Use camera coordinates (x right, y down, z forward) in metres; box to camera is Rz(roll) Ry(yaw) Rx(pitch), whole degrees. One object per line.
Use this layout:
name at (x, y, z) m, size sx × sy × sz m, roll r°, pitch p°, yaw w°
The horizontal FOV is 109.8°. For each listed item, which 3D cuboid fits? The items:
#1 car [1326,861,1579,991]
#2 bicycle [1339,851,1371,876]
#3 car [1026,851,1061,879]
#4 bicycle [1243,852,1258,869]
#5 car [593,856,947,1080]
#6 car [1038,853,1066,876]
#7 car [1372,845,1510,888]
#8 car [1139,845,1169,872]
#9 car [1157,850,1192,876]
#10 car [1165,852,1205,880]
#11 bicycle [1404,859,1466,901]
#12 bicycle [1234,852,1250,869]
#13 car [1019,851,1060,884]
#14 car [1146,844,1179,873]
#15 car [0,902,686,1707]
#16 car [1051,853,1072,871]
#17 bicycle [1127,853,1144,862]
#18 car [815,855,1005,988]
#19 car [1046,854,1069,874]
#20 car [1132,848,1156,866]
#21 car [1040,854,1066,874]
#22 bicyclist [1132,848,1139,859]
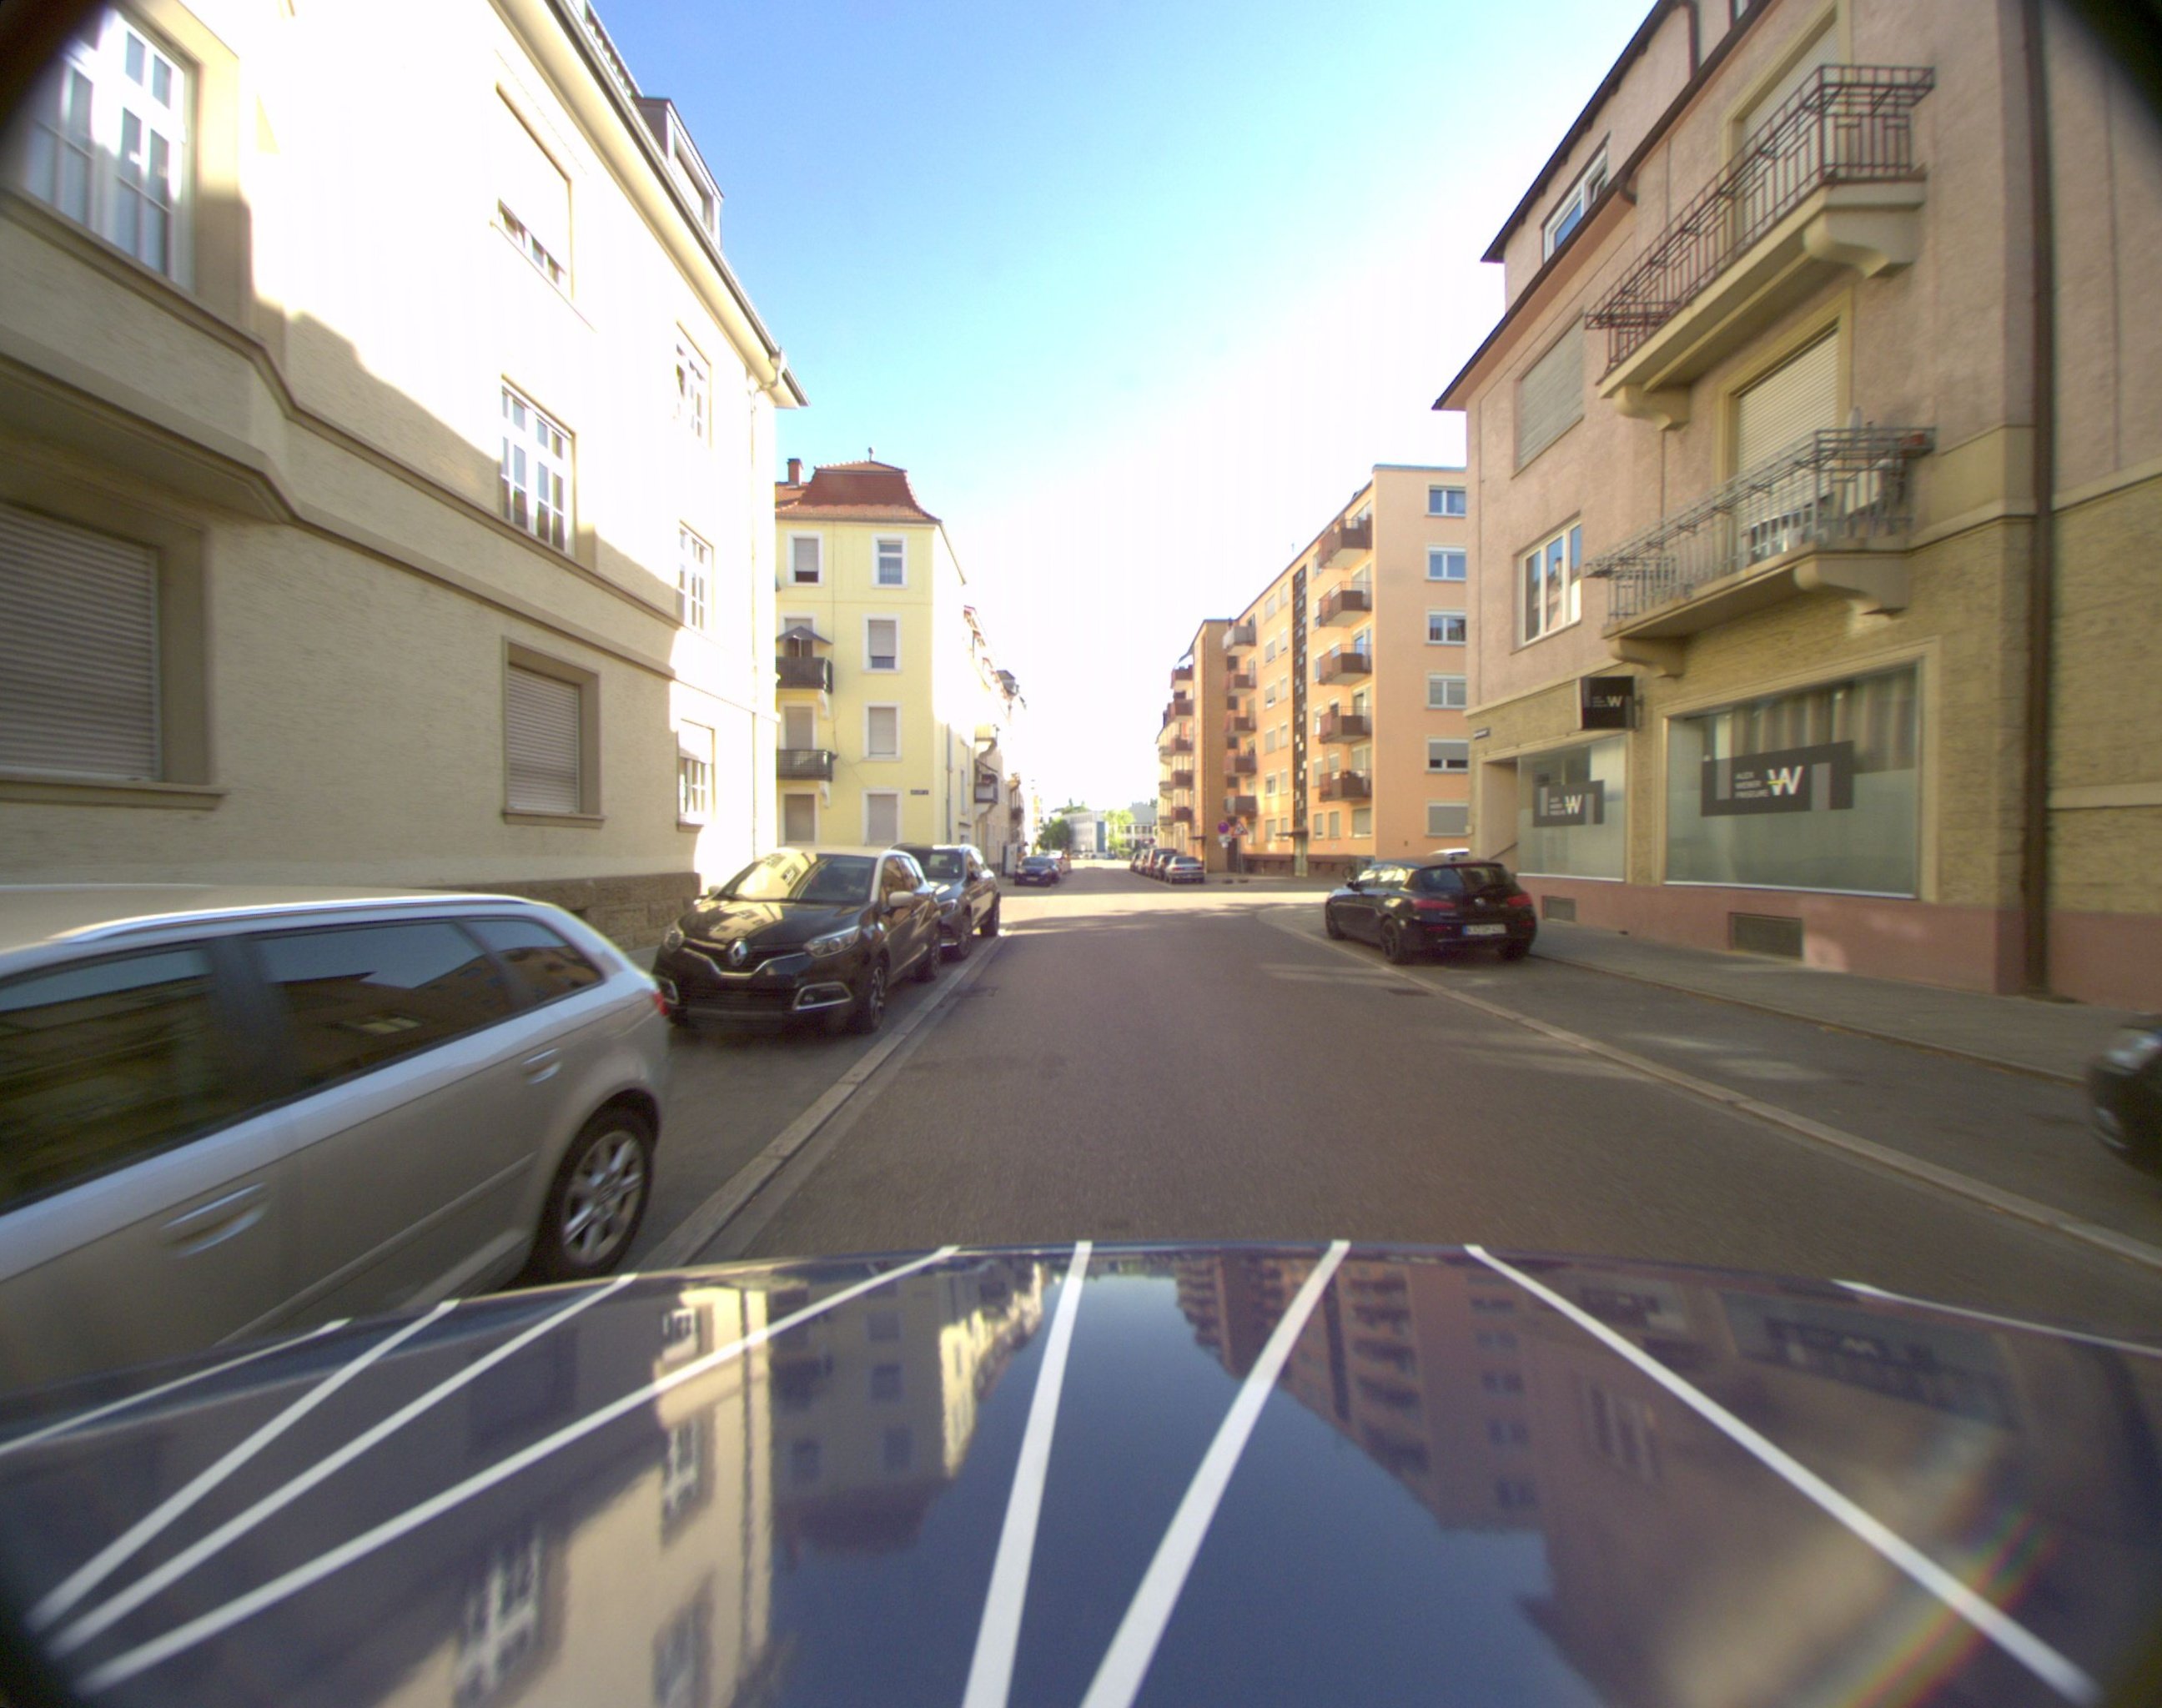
car at (4.976, 0.861, 10.832) m, size 1.719 × 1.378 × 3.864 m, roll -3°, pitch 0°, yaw 1°
bicycle at (12.626, 0.427, 35.031) m, size 0.688 × 1.101 × 1.805 m, roll 0°, pitch 0°, yaw -6°
car at (-1.998, 0.569, 41.629) m, size 1.708 × 1.417 × 3.721 m, roll 1°, pitch 1°, yaw 0°
bicycle at (11.307, 0.422, 50.723) m, size 0.494 × 1.101 × 1.805 m, roll 0°, pitch 0°, yaw -6°
car at (-2.569, 0.815, 7.364) m, size 1.684 × 1.537 × 3.915 m, roll 1°, pitch 0°, yaw 2°
car at (-1.787, 0.643, 47.976) m, size 1.708 × 1.417 × 3.721 m, roll 0°, pitch 0°, yaw -1°
car at (13.544, 0.447, 28.684) m, size 4.454 × 1.551 × 1.780 m, roll 0°, pitch 0°, yaw -7°
car at (5.333, 0.327, 56.001) m, size 1.822 × 1.867 × 4.111 m, roll 0°, pitch 0°, yaw 1°
car at (5.398, 0.507, 44.340) m, size 1.678 × 1.414 × 3.286 m, roll 0°, pitch 0°, yaw 1°
car at (5.346, 0.584, 39.388) m, size 1.678 × 1.414 × 3.500 m, roll 0°, pitch 0°, yaw 1°
bicycle at (9.967, 0.723, 21.394) m, size 1.665 × 1.140 × 0.435 m, roll 0°, pitch 1°, yaw -11°
bicycle at (10.754, 0.432, 50.713) m, size 0.494 × 1.101 × 1.805 m, roll 0°, pitch 0°, yaw -6°
car at (-1.945, 0.611, 36.163) m, size 1.708 × 1.417 × 3.721 m, roll 1°, pitch 1°, yaw 0°
car at (5.320, 0.267, 50.102) m, size 1.822 × 1.867 × 4.111 m, roll 0°, pitch 0°, yaw 1°
car at (-2.575, 0.947, 1.294) m, size 1.657 × 1.456 × 4.094 m, roll 0°, pitch 0°, yaw 0°
car at (-1.707, 0.673, 66.090) m, size 1.708 × 1.417 × 3.721 m, roll 1°, pitch 1°, yaw 0°
bicycle at (7.039, 0.457, 98.204) m, size 2.020 × 1.041 × 0.730 m, roll -1°, pitch 1°, yaw 0°
car at (-2.377, 0.853, 11.795) m, size 1.791 × 1.655 × 4.435 m, roll 0°, pitch 0°, yaw 2°
car at (-1.814, 0.770, 59.484) m, size 1.708 × 1.417 × 3.721 m, roll 1°, pitch 1°, yaw 0°
car at (5.544, 0.260, 66.833) m, size 1.822 × 1.589 × 3.812 m, roll 0°, pitch 0°, yaw 1°
car at (-2.002, 0.707, 55.002) m, size 1.708 × 1.417 × 3.722 m, roll 0°, pitch 0°, yaw 0°
bicyclist at (7.057, -0.070, 98.227) m, size 0.743 × 1.388 × 0.726 m, roll -1°, pitch 1°, yaw 1°
